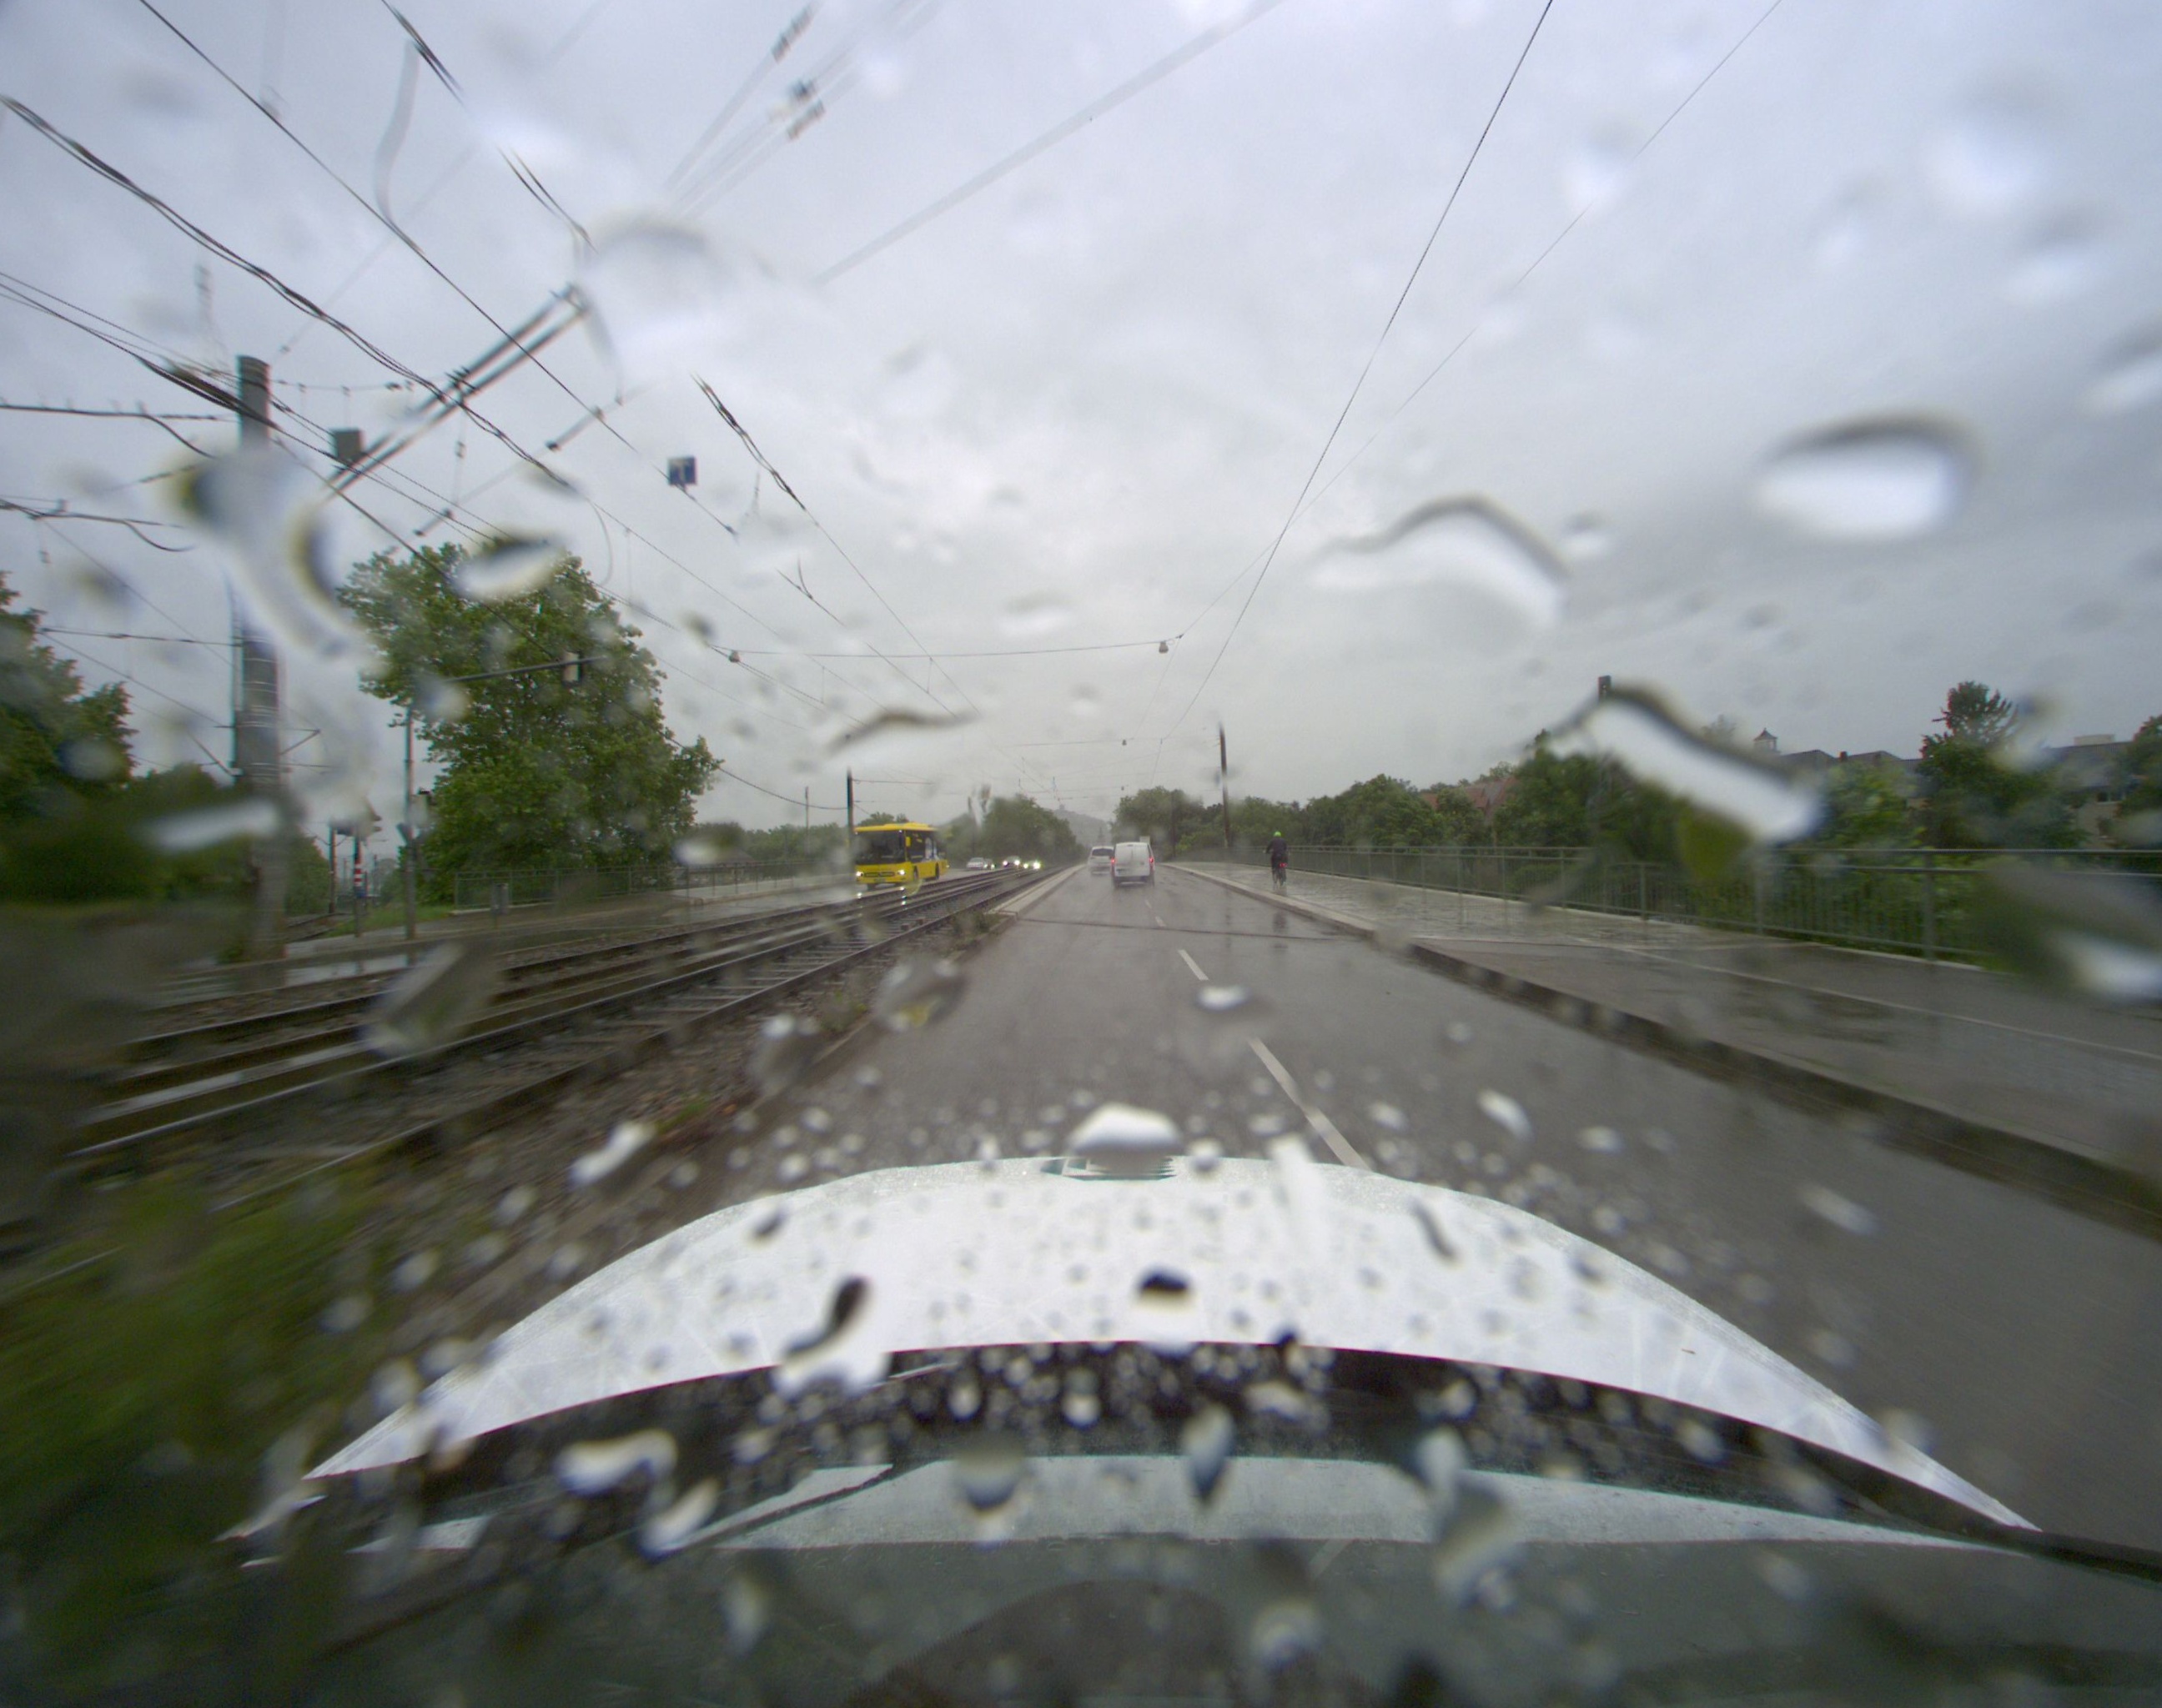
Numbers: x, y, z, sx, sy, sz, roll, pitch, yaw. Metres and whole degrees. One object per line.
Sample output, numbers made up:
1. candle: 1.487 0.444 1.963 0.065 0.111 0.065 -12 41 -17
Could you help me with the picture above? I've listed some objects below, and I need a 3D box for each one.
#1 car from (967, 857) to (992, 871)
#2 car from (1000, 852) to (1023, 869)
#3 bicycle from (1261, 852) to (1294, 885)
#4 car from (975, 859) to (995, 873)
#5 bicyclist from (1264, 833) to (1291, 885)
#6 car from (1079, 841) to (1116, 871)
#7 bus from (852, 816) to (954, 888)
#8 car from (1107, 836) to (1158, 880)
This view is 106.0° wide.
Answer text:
1. car: -11.187 1.120 90.225 1.986 1.456 4.621 -3 -1 1
2. car: -8.112 0.787 94.862 1.986 1.717 4.943 -3 -1 2
3. bicycle: 6.802 0.492 28.253 0.720 1.129 2.169 0 -1 2
4. car: -11.253 1.413 95.495 1.614 1.456 4.323 -3 -1 1
5. bicyclist: 6.788 0.177 28.140 0.722 1.764 0.949 0 -2 2
6. car: 1.047 0.143 48.730 1.984 1.717 4.004 0 -1 4
7. bus: -9.496 -0.200 44.966 2.698 3.340 10.999 -3 1 2
8. car: 2.158 0.218 33.923 1.984 1.726 4.004 0 -1 4
